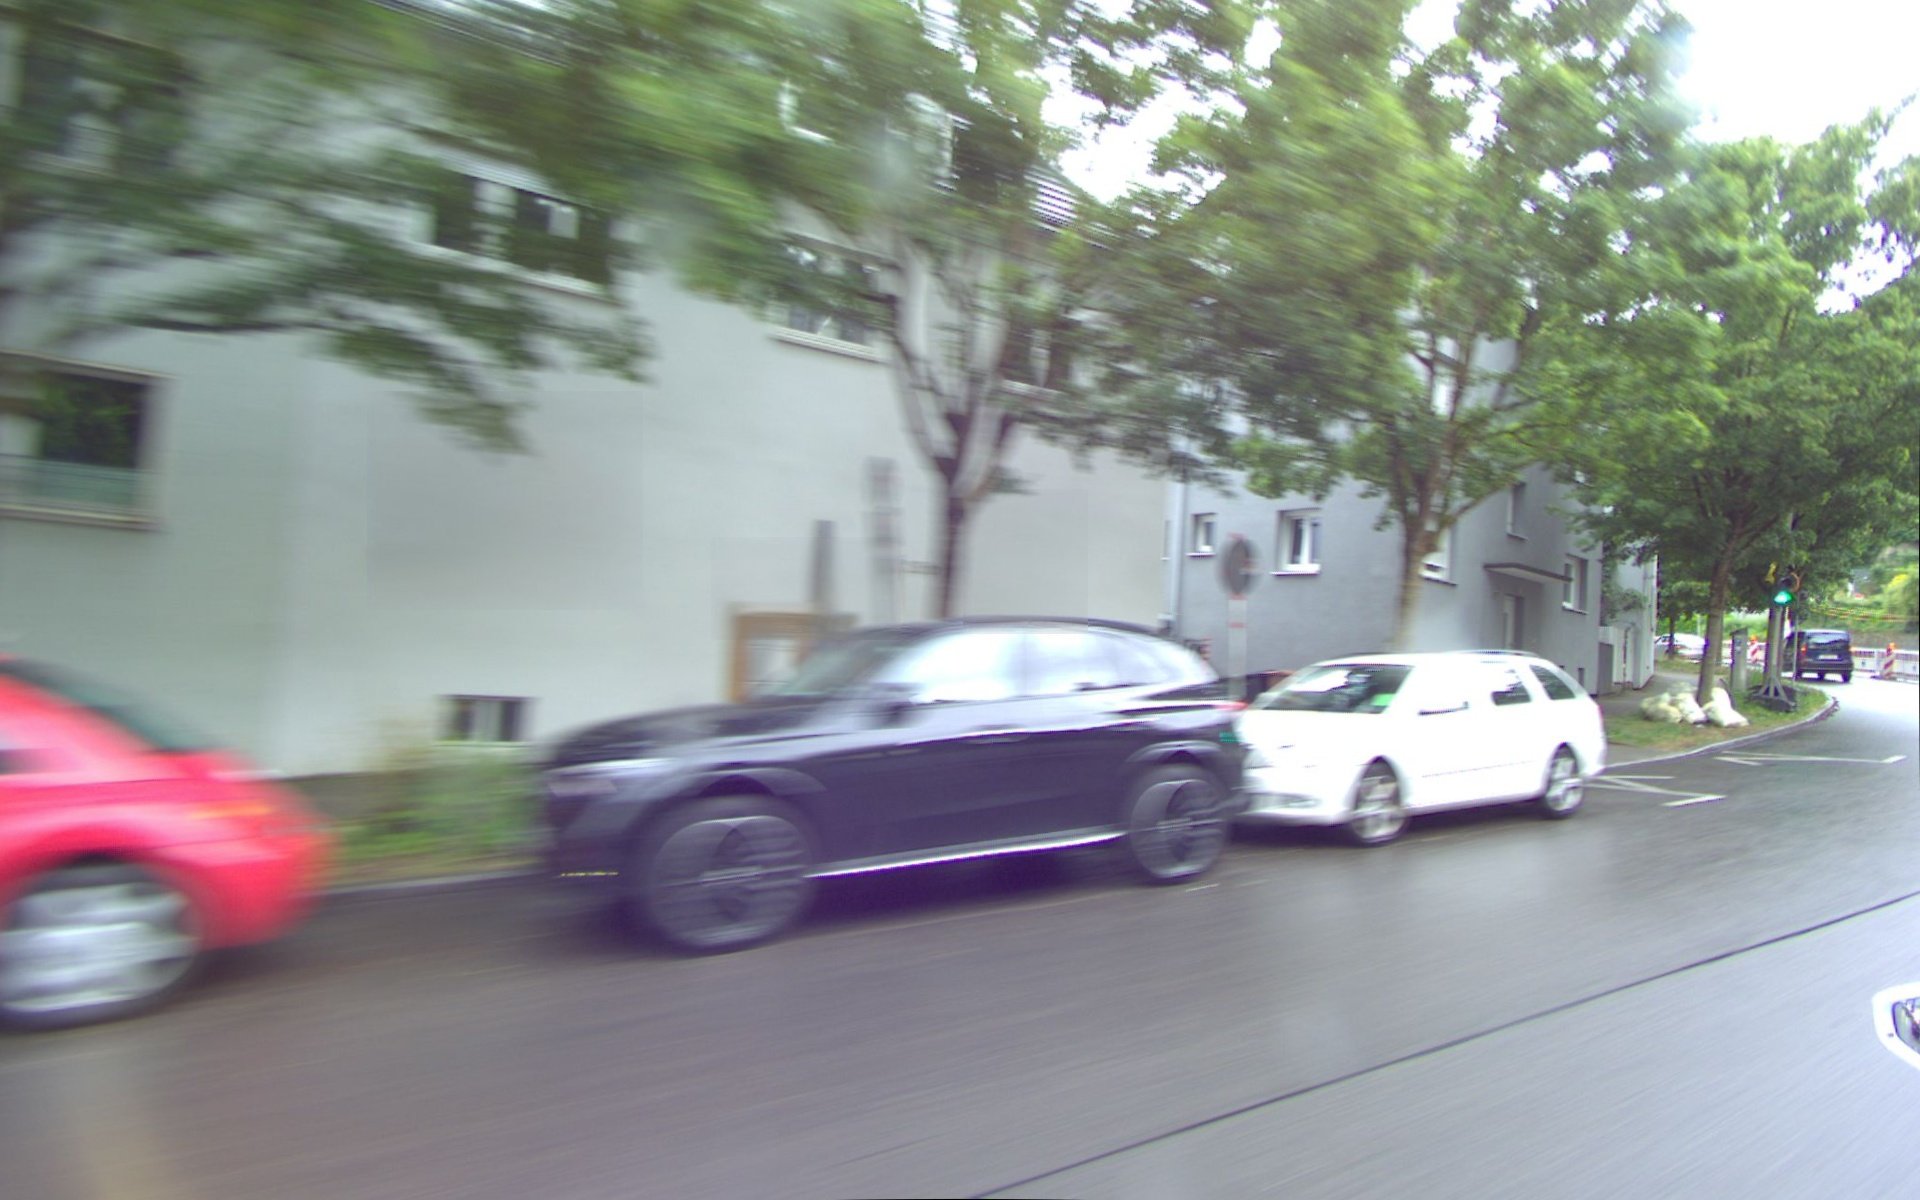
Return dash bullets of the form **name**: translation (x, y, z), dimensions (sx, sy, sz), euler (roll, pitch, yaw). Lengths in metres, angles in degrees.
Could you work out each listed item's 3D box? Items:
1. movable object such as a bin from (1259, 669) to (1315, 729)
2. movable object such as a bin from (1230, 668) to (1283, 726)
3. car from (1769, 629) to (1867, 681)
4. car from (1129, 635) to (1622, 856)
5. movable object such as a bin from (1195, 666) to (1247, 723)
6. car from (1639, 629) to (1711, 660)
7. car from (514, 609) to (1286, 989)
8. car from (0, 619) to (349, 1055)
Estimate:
- **movable object such as a bin**: translation (5.483, 1.649, 16.850), dimensions (0.634, 0.963, 0.654), euler (1, -2, -21)
- **movable object such as a bin**: translation (5.141, 1.669, 17.434), dimensions (0.634, 0.963, 0.654), euler (1, -2, -21)
- **car**: translation (31.963, 2.036, 37.548), dimensions (1.964, 1.817, 3.994), euler (-1, -3, 29)
- **car**: translation (3.719, 1.170, 8.820), dimensions (4.266, 1.527, 1.675), euler (2, -8, -31)
- **movable object such as a bin**: translation (4.672, 1.678, 17.985), dimensions (0.634, 0.963, 0.654), euler (1, -2, -21)
- **car**: translation (36.967, 2.318, 52.058), dimensions (1.691, 1.505, 4.079), euler (-1, -3, 15)
- **car**: translation (-0.205, 0.943, 6.234), dimensions (4.523, 1.629, 1.674), euler (1, -3, -31)
- **car**: translation (-4.659, 0.888, 3.931), dimensions (3.807, 1.584, 1.624), euler (3, -6, -32)
